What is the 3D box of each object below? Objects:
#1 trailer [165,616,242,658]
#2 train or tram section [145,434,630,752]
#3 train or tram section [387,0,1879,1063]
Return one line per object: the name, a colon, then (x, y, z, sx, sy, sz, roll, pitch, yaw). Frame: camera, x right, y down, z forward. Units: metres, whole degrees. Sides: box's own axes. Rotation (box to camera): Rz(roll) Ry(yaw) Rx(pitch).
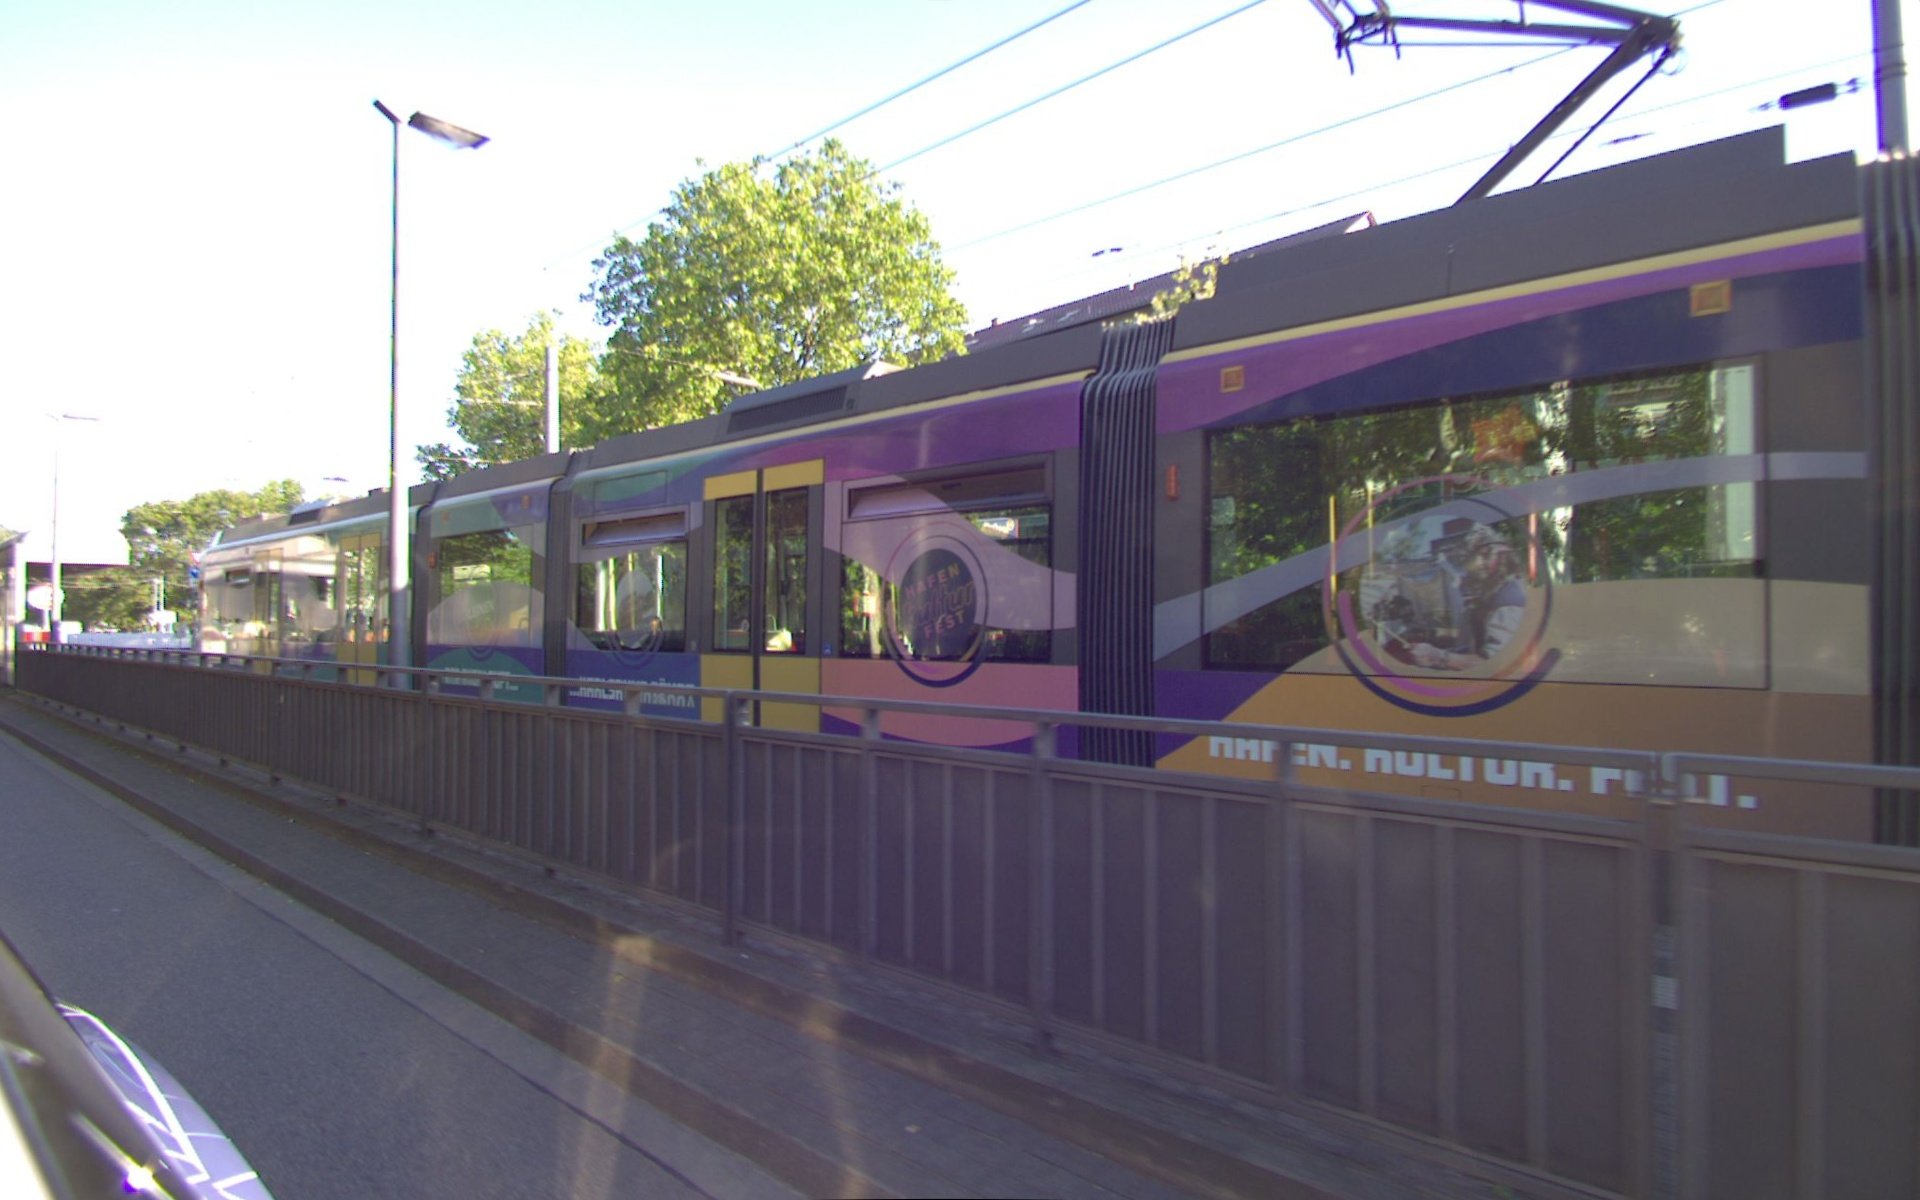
trailer: (-40.382, 1.982, 54.006, 4.335, 2.131, 1.977, -2, -2, 34)
train or tram section: (-10.327, 0.063, 16.849, 13.391, 3.560, 2.819, -1, -2, 42)
train or tram section: (-0.975, -0.176, 8.535, 12.779, 3.576, 2.700, -1, -2, 42)
